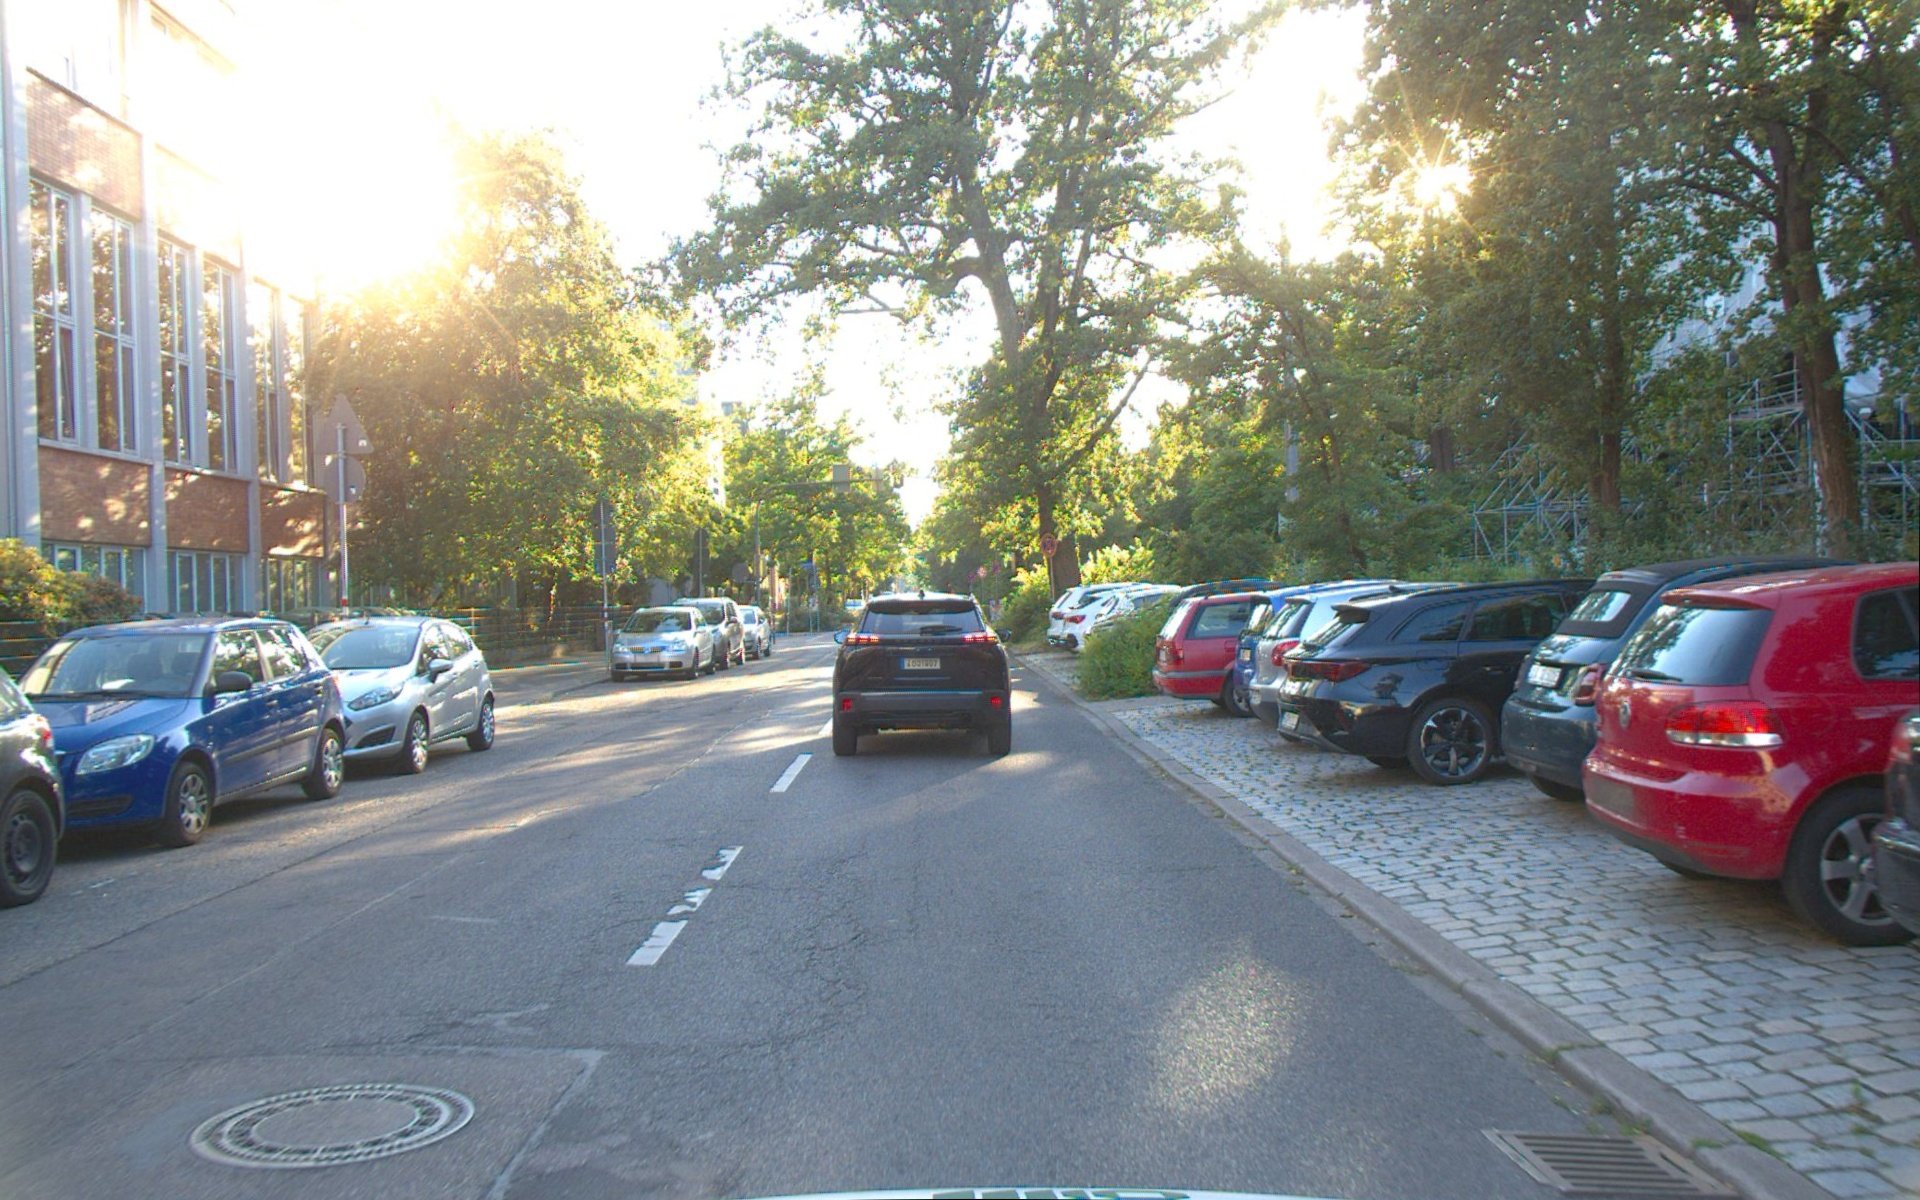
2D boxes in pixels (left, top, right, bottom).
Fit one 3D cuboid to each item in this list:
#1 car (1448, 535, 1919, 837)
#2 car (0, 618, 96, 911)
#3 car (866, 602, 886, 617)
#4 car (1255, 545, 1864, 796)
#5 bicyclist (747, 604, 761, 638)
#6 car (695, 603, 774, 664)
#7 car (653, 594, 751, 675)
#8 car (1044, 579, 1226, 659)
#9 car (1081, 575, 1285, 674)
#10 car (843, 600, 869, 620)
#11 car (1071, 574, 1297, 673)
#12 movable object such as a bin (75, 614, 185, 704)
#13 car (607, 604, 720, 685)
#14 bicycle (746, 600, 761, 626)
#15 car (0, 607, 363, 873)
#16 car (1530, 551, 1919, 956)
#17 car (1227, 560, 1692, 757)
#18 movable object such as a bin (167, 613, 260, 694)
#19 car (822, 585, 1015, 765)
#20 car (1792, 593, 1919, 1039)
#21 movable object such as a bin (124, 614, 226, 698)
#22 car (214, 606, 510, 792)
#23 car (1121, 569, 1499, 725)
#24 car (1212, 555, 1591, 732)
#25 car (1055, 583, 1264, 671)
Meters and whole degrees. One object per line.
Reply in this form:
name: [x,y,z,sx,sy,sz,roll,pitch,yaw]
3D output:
car: [5.234,0.428,10.310,3.731,1.500,1.831,-5,-1,-1]
car: [-5.724,0.910,7.404,1.566,1.480,4.054,-3,1,-1]
car: [-8.304,0.917,163.558,1.775,1.377,3.975,-2,0,-5]
car: [4.539,0.512,12.985,4.037,1.500,1.832,-5,0,0]
bicyclist: [-10.093,1.022,80.980,0.662,1.631,0.705,-1,0,-6]
car: [-6.293,0.912,46.562,1.645,1.482,3.881,-3,1,-1]
car: [-6.194,0.780,40.171,1.645,1.738,4.340,-3,1,-1]
car: [4.041,0.439,38.686,4.083,1.740,1.868,-1,0,3]
car: [4.194,0.467,31.471,3.517,1.593,1.817,-4,-1,-2]
car: [-7.787,0.749,123.481,1.775,1.377,3.995,-2,0,-6]
car: [3.877,0.390,29.049,3.670,1.622,1.696,-1,0,-3]
movable object such as a bin: [-14.366,1.001,28.668,1.076,1.455,1.519,-2,0,2]
car: [-6.137,0.882,34.603,1.637,1.520,4.060,-1,0,-1]
bicycle: [-10.101,0.631,80.962,0.673,1.271,2.189,-1,0,-6]
car: [-5.898,0.894,12.091,1.566,1.534,3.787,-3,1,1]
car: [4.806,0.505,7.503,3.731,1.500,1.756,-5,-1,-1]
car: [4.680,0.528,15.934,3.845,1.479,1.832,-5,0,0]
movable object such as a bin: [-14.259,1.006,31.634,1.076,1.455,1.373,-2,0,2]
car: [-0.450,0.672,16.893,1.733,1.595,3.379,-1,1,-3]
car: [4.893,0.546,5.109,3.674,1.419,1.756,-5,-1,-1]
movable object such as a bin: [-14.306,1.003,30.182,1.076,1.455,1.486,-2,0,2]
car: [-5.875,0.895,16.723,1.568,1.519,3.772,-3,1,-1]
car: [4.261,0.546,20.598,4.250,1.500,1.742,-5,1,-1]
car: [4.859,0.460,18.503,3.640,1.582,1.740,-5,0,-5]
car: [4.045,0.534,33.911,4.038,1.696,1.722,-1,0,-1]
